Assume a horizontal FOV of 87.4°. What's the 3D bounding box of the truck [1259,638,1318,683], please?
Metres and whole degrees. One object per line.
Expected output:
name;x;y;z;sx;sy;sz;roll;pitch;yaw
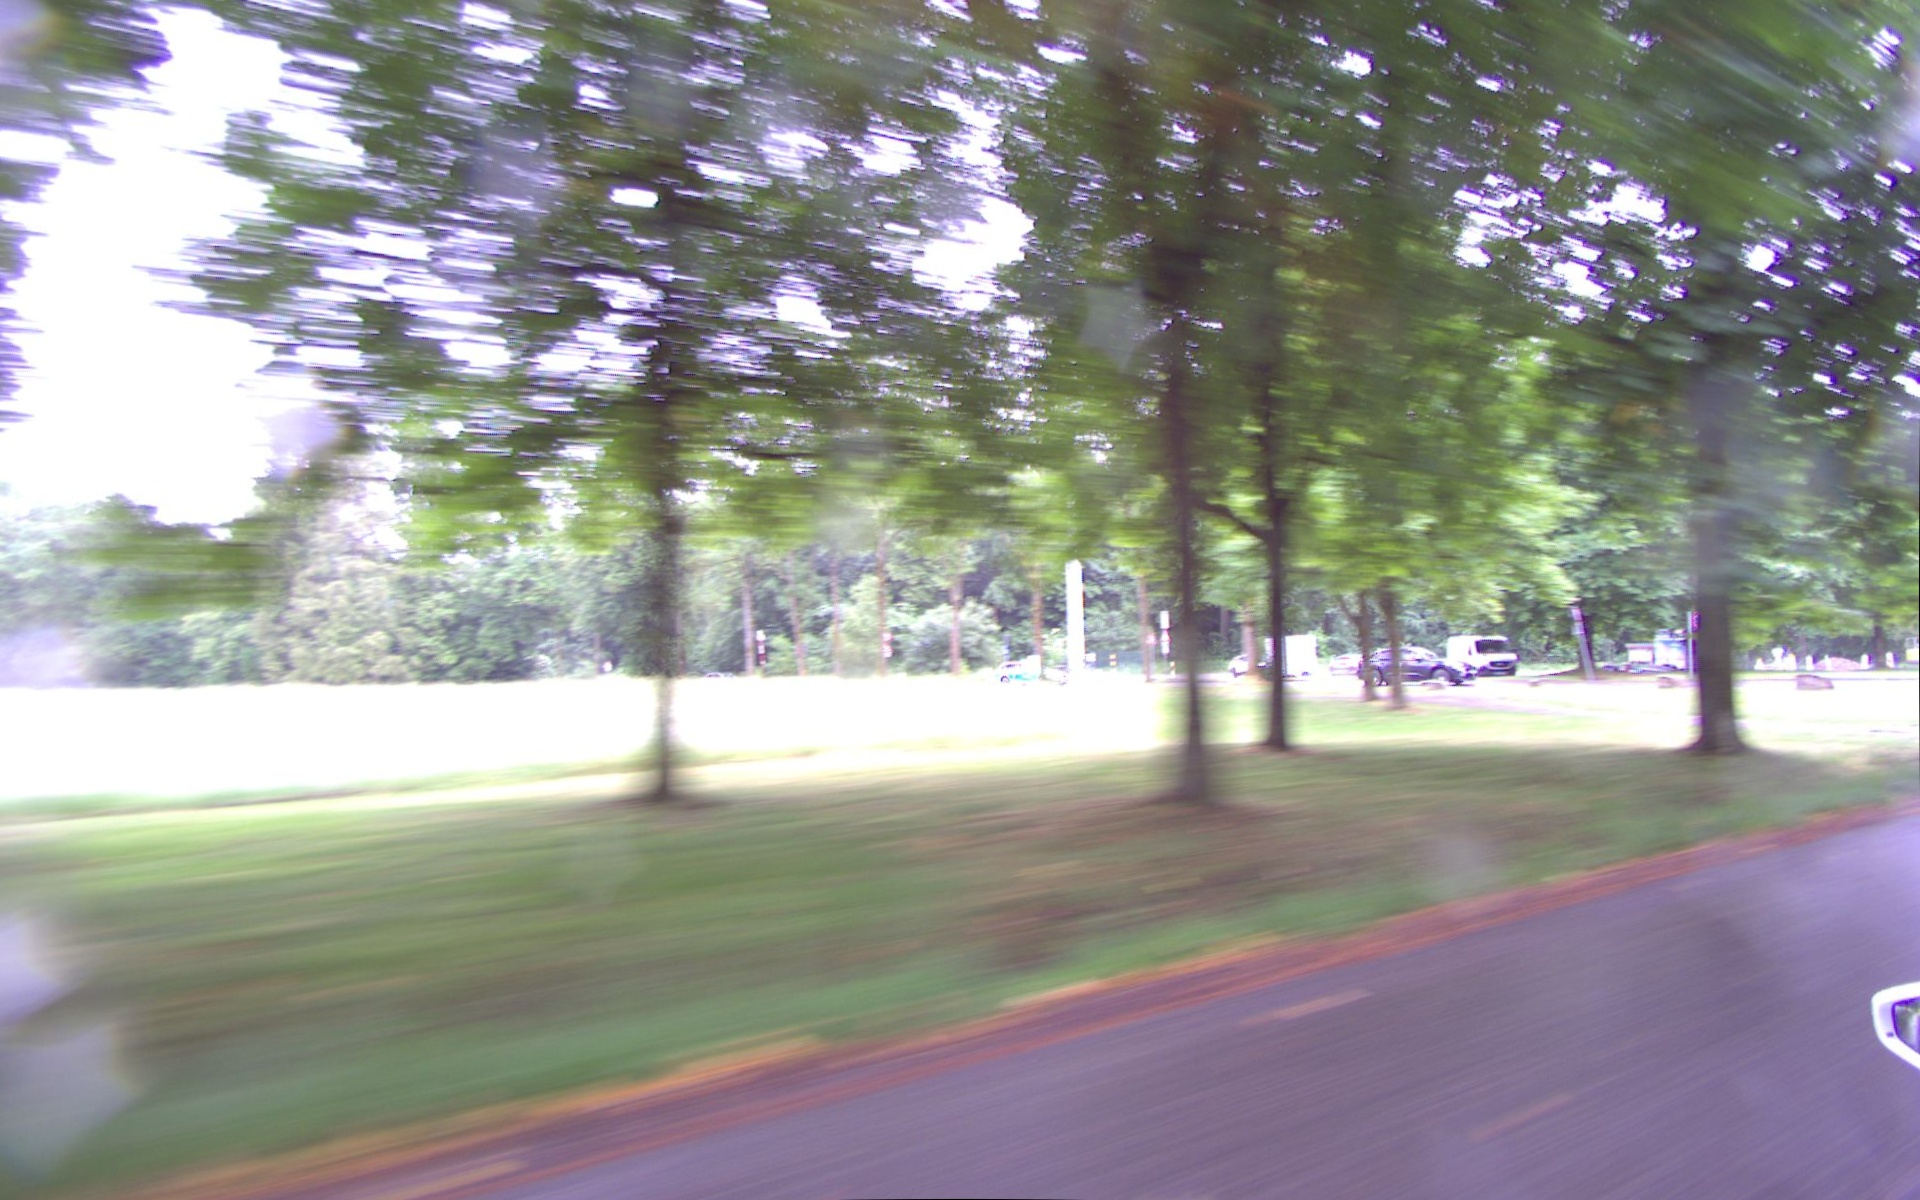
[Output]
truck;18.711;3.443;57.153;3.328;2.474;1.851;2;-4;-45

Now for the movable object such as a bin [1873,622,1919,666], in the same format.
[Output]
movable object such as a bin;74.995;3.426;78.713;3.883;3.337;4.616;2;-4;-41

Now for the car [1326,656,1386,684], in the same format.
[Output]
car;21.735;3.816;55.076;1.743;1.448;4.086;-3;-4;41

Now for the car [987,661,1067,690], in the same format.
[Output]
car;3.943;4.457;59.921;1.720;1.621;4.840;2;-4;-44

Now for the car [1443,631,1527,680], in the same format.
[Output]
car;27.749;2.970;53.372;2.344;2.438;5.990;0;-3;11

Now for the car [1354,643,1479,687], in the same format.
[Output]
car;19.420;2.799;42.878;1.720;1.731;4.516;1;-5;-45
